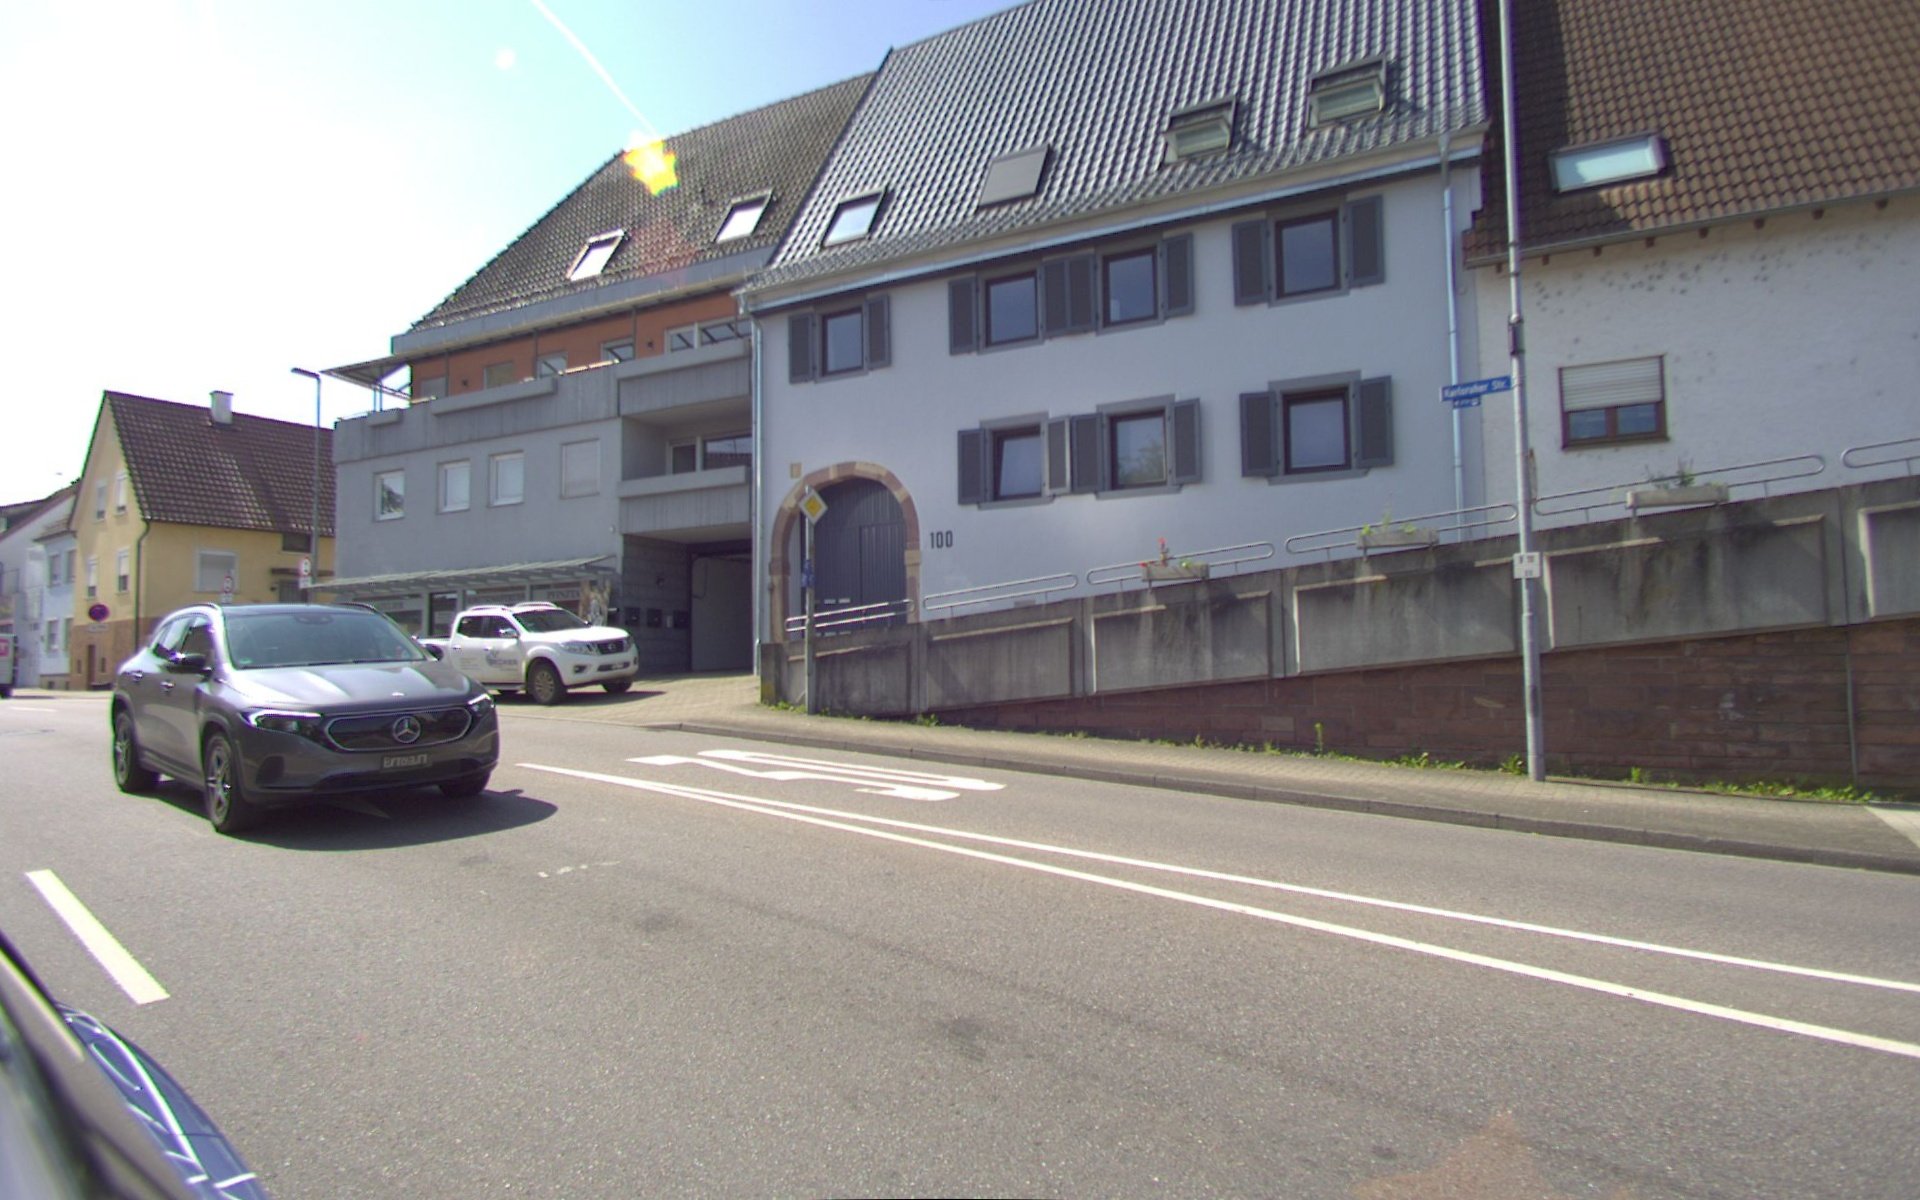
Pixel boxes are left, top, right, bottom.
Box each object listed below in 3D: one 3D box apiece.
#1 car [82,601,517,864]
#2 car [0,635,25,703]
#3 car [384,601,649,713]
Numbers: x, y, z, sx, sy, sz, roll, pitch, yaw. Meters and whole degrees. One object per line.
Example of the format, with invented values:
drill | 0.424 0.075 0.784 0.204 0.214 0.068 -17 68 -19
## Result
car | -5.455 0.846 8.137 4.285 1.585 1.716 -1 -1 39
car | -29.898 2.064 30.118 5.302 1.948 1.951 -3 -5 36
car | -8.535 1.071 19.327 5.264 1.811 1.793 -3 2 30
